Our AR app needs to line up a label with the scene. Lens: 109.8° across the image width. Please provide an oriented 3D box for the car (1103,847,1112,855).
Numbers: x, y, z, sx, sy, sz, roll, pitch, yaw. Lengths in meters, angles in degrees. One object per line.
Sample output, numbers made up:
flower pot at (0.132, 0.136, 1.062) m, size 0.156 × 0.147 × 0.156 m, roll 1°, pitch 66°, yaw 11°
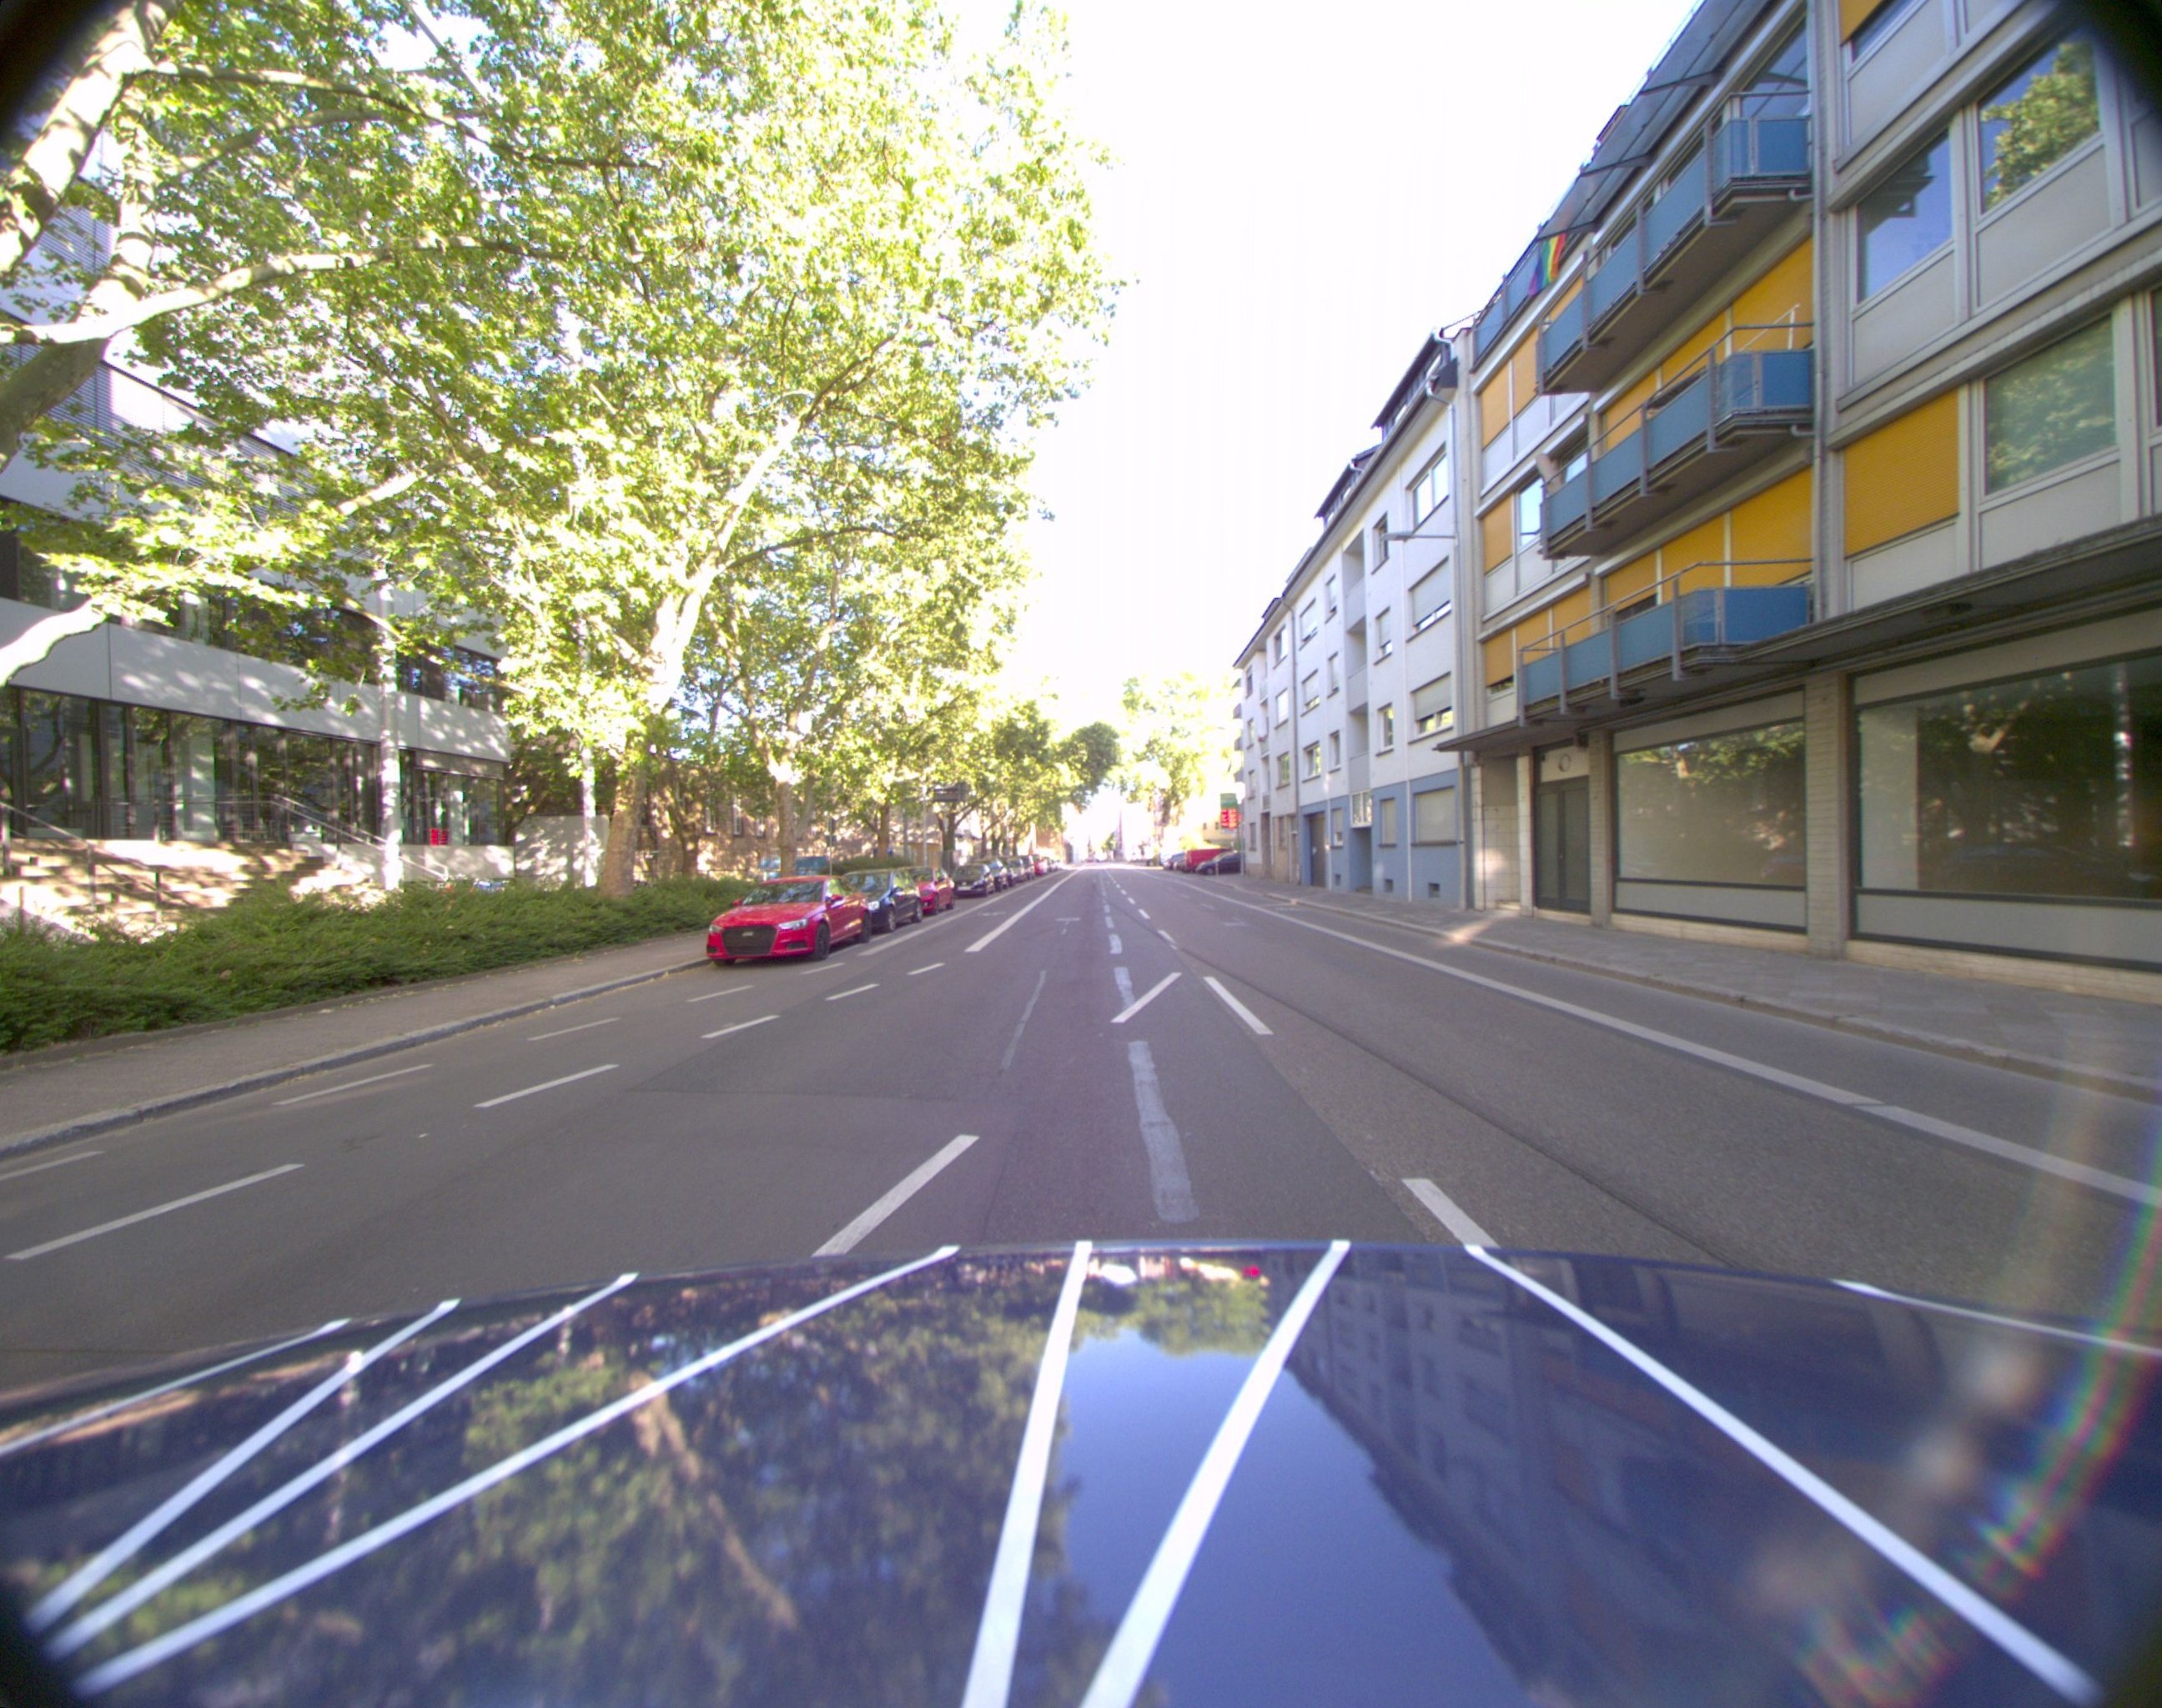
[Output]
car at (6.756, -0.805, 193.481) m, size 1.998 × 2.002 × 3.999 m, roll -2°, pitch 1°, yaw 1°

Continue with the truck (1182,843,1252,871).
truck at (10.724, 0.236, 60.115) m, size 5.088 × 2.009 × 2.000 m, roll -2°, pitch 1°, yaw 0°

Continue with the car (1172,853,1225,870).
car at (9.660, 0.611, 62.841) m, size 4.033 × 1.265 × 1.906 m, roll -2°, pitch 1°, yaw -1°

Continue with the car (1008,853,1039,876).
car at (-4.172, 0.749, 55.529) m, size 1.831 × 1.608 × 4.177 m, roll -1°, pitch 0°, yaw 1°

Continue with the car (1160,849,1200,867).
car at (9.875, 0.378, 75.929) m, size 3.658 × 1.578 × 1.659 m, roll -2°, pitch 1°, yaw -5°

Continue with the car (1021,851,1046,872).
car at (-4.111, 0.613, 66.199) m, size 1.876 × 1.685 × 4.166 m, roll -1°, pitch 0°, yaw 1°

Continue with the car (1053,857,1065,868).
car at (-2.633, 1.025, 92.344) m, size 1.300 × 1.220 × 3.241 m, roll -1°, pitch 0°, yaw 0°

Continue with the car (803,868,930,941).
car at (-5.039, 1.133, 18.435) m, size 1.813 × 1.449 × 4.000 m, roll -1°, pitch 0°, yaw 2°

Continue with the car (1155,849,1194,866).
car at (9.611, 0.375, 78.588) m, size 3.703 × 1.573 × 1.718 m, roll -2°, pitch 1°, yaw -5°

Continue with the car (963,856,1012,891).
car at (-4.625, 0.920, 38.228) m, size 1.848 × 1.572 × 4.232 m, roll -2°, pitch 0°, yaw 1°

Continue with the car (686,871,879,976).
car at (-5.114, 1.116, 13.706) m, size 1.775 × 1.416 × 4.173 m, roll -3°, pitch 0°, yaw 0°

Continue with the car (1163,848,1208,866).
car at (10.074, 0.287, 73.380) m, size 3.998 × 1.618 × 1.702 m, roll -2°, pitch 1°, yaw -5°

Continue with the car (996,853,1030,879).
car at (-4.444, 0.737, 50.472) m, size 1.798 × 1.608 × 4.075 m, roll -1°, pitch 0°, yaw 1°

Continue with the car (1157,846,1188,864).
car at (10.224, 0.104, 85.234) m, size 3.267 × 1.927 × 1.693 m, roll -2°, pitch 1°, yaw 2°

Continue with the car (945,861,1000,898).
car at (-4.679, 1.081, 33.282) m, size 1.745 × 1.430 × 4.000 m, roll -1°, pitch 0°, yaw 1°

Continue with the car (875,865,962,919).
car at (-4.963, 1.111, 23.766) m, size 1.790 × 1.429 × 4.000 m, roll -1°, pitch 0°, yaw 1°

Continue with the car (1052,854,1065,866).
car at (-3.003, 0.813, 102.855) m, size 1.707 × 1.459 × 3.809 m, roll -1°, pitch 0°, yaw 0°

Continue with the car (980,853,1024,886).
car at (-4.548, 0.867, 44.211) m, size 1.998 × 1.715 × 4.262 m, roll -2°, pitch 1°, yaw 1°

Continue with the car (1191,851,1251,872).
car at (10.064, 0.532, 54.820) m, size 3.997 × 1.385 × 1.781 m, roll -2°, pitch 1°, yaw -1°

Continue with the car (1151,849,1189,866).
car at (9.481, 0.370, 80.879) m, size 3.728 × 1.579 × 1.743 m, roll -2°, pitch 1°, yaw -5°

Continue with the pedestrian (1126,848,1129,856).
pedestrian at (12.463, -0.496, 203.128) m, size 0.613 × 1.981 × 0.711 m, roll -1°, pitch 2°, yaw 41°
